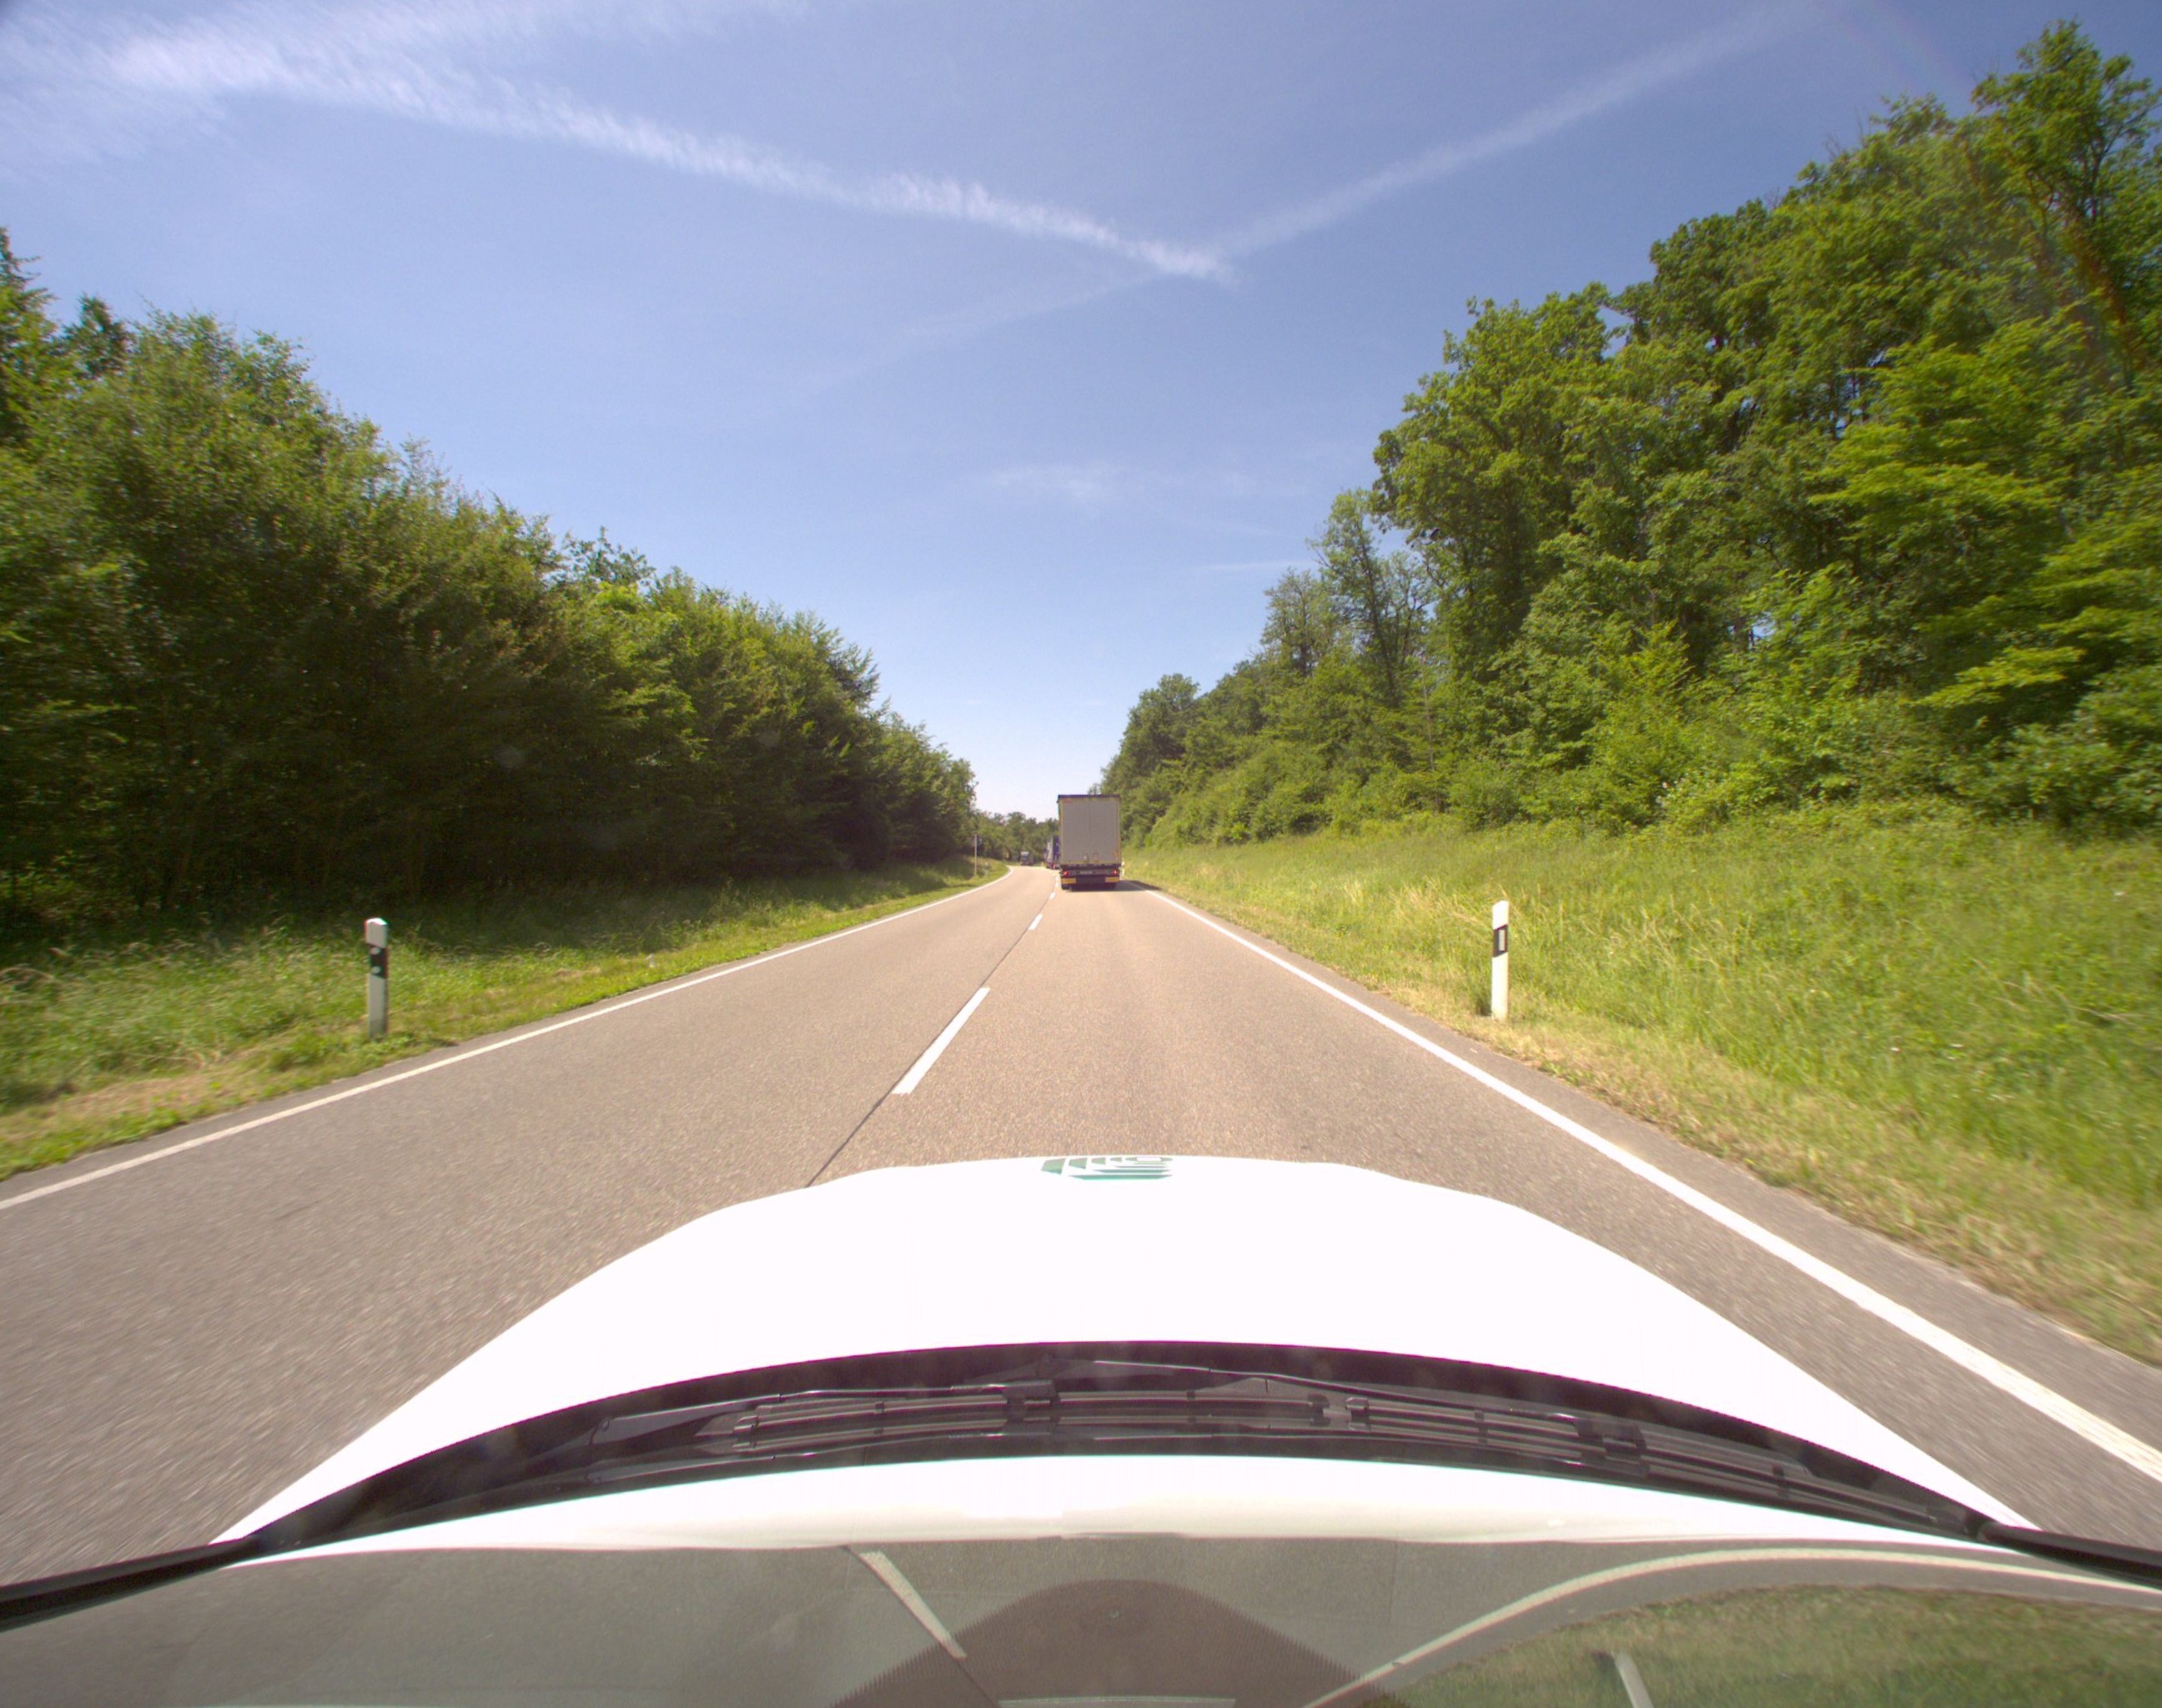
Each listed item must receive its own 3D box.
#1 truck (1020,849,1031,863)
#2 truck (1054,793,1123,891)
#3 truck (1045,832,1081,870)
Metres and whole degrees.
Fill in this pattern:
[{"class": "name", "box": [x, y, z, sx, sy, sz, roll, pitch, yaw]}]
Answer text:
[{"class": "truck", "box": [-17.103, 0.599, 250.420, 2.919, 4.216, 5.332, -2, 0, -6]}, {"class": "truck", "box": [0.295, -0.478, 39.335, 2.752, 3.947, 12.194, 0, 0, 0]}, {"class": "truck", "box": [-2.344, -0.327, 101.017, 3.786, 4.373, 14.898, 0, 0, -4]}]
